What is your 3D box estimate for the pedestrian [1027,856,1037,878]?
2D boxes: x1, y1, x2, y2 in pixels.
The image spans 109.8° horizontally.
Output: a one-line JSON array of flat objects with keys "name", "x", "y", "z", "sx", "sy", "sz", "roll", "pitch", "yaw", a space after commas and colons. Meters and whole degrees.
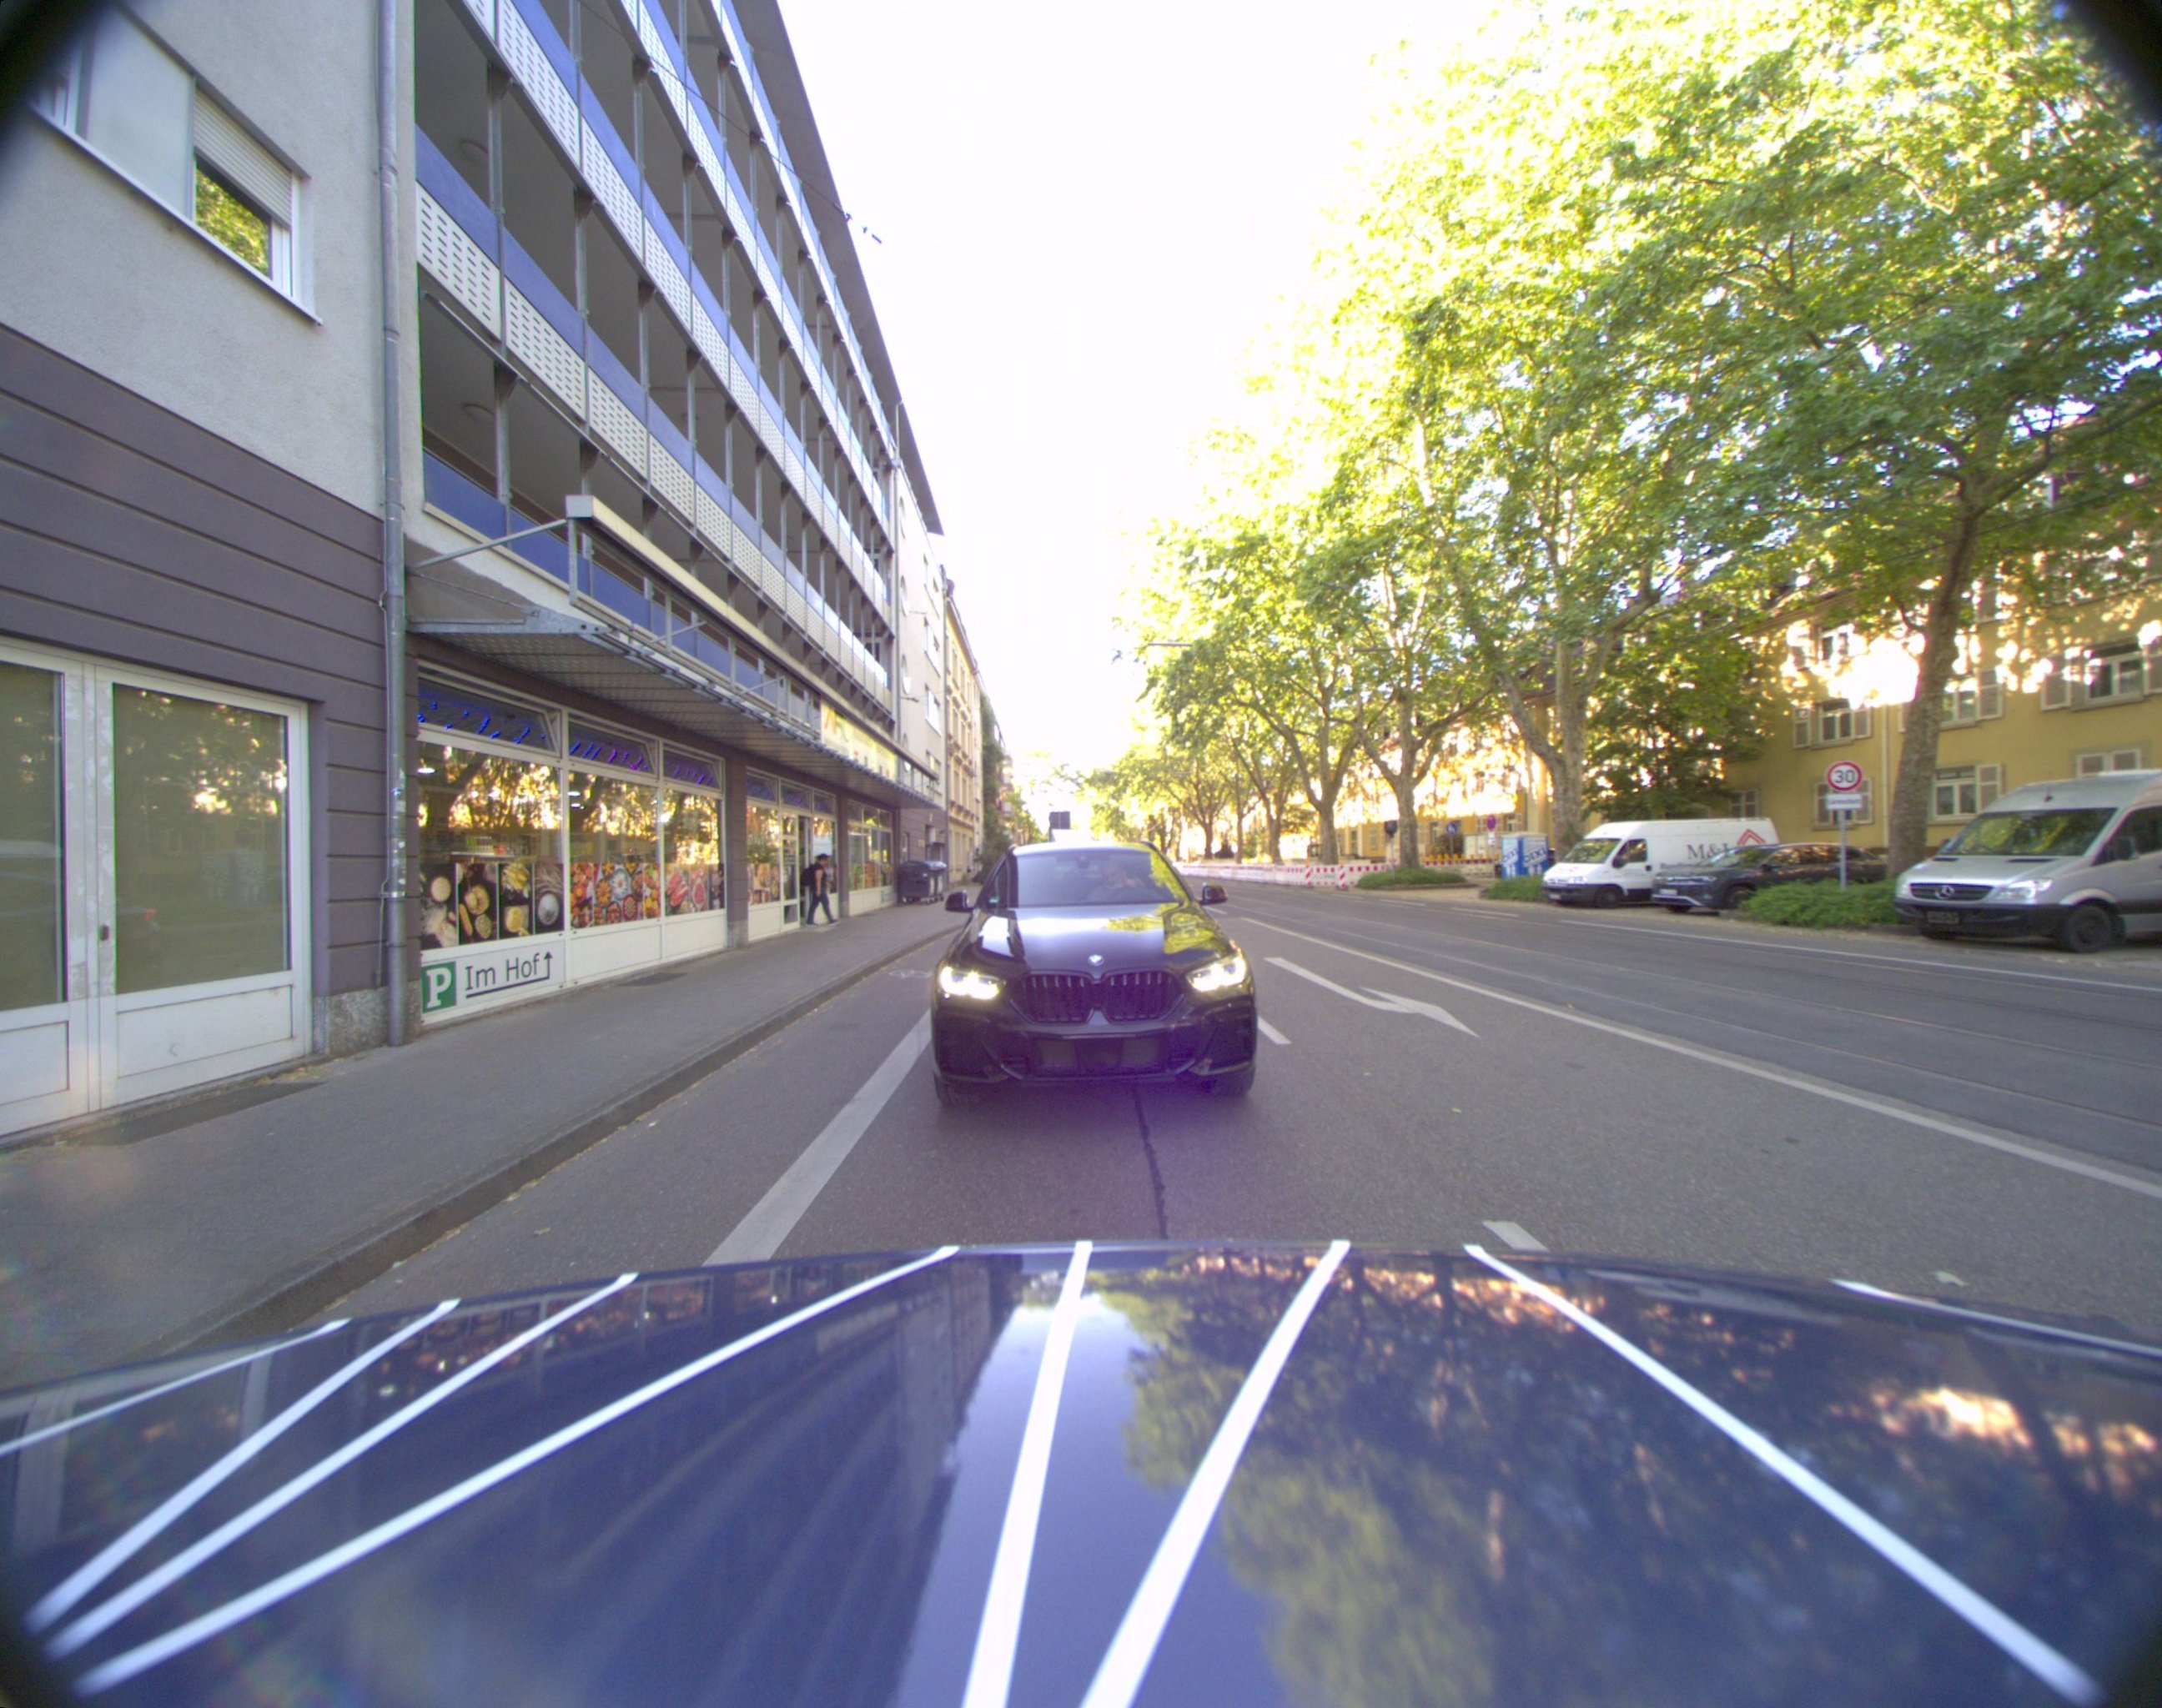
[{"name": "pedestrian", "x": -4.211, "y": 1.096, "z": 65.702, "sx": 0.733, "sy": 1.875, "sz": 0.664, "roll": -2, "pitch": 1, "yaw": -1}]

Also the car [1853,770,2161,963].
[{"name": "car", "x": 15.986, "y": 0.127, "z": 11.862, "sx": 5.666, "sy": 2.666, "sz": 2.223, "roll": -2, "pitch": 0, "yaw": -2}]

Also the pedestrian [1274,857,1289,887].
[{"name": "pedestrian", "x": 11.729, "y": 1.043, "z": 44.472, "sx": 0.652, "sy": 1.735, "sz": 0.582, "roll": -2, "pitch": 1, "yaw": -8}]

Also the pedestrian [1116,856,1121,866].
[{"name": "pedestrian", "x": 6.849, "y": 1.261, "z": 138.719, "sx": 0.733, "sy": 1.875, "sz": 0.741, "roll": -2, "pitch": 1, "yaw": -1}]

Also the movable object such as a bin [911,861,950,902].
[{"name": "movable object such as a bin", "x": -5.281, "y": 0.951, "z": 26.689, "sx": 1.158, "sy": 1.418, "sz": 0.939, "roll": -1, "pitch": 0, "yaw": 1}]

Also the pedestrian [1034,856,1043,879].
[{"name": "pedestrian", "x": -3.476, "y": 1.107, "z": 62.196, "sx": 0.600, "sy": 1.875, "sz": 0.581, "roll": -2, "pitch": 1, "yaw": -1}]

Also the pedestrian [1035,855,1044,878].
[{"name": "pedestrian", "x": -3.545, "y": 1.081, "z": 65.017, "sx": 0.733, "sy": 1.875, "sz": 0.664, "roll": -2, "pitch": 1, "yaw": -1}]

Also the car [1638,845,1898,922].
[{"name": "car", "x": 16.080, "y": 0.656, "z": 17.944, "sx": 4.627, "sy": 1.642, "sz": 1.774, "roll": -1, "pitch": 0, "yaw": -2}]

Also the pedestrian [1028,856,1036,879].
[{"name": "pedestrian", "x": -4.114, "y": 1.113, "z": 63.841, "sx": 0.600, "sy": 1.875, "sz": 0.581, "roll": -2, "pitch": 1, "yaw": -1}]

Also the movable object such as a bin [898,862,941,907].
[{"name": "movable object such as a bin", "x": -5.236, "y": 0.975, "z": 24.651, "sx": 1.158, "sy": 1.418, "sz": 0.939, "roll": -1, "pitch": 0, "yaw": 1}]

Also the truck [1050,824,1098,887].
[{"name": "truck", "x": -0.312, "y": 0.119, "z": 42.195, "sx": 2.394, "sy": 3.170, "sz": 6.587, "roll": -1, "pitch": 0, "yaw": 1}]

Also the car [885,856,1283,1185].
[{"name": "car", "x": 0.044, "y": 0.858, "z": 6.008, "sx": 1.998, "sy": 1.643, "sz": 4.295, "roll": -1, "pitch": 0, "yaw": 1}]

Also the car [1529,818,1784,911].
[{"name": "car", "x": 15.846, "y": 0.288, "z": 21.151, "sx": 5.404, "sy": 2.362, "sz": 2.223, "roll": -1, "pitch": 0, "yaw": 0}]

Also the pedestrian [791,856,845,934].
[{"name": "pedestrian", "x": -5.491, "y": 0.842, "z": 15.884, "sx": 0.862, "sy": 1.582, "sz": 0.624, "roll": -1, "pitch": 0, "yaw": 30}]

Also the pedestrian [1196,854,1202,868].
[{"name": "pedestrian", "x": 16.319, "y": 0.919, "z": 105.401, "sx": 0.732, "sy": 1.875, "sz": 0.665, "roll": -2, "pitch": 1, "yaw": 8}]
